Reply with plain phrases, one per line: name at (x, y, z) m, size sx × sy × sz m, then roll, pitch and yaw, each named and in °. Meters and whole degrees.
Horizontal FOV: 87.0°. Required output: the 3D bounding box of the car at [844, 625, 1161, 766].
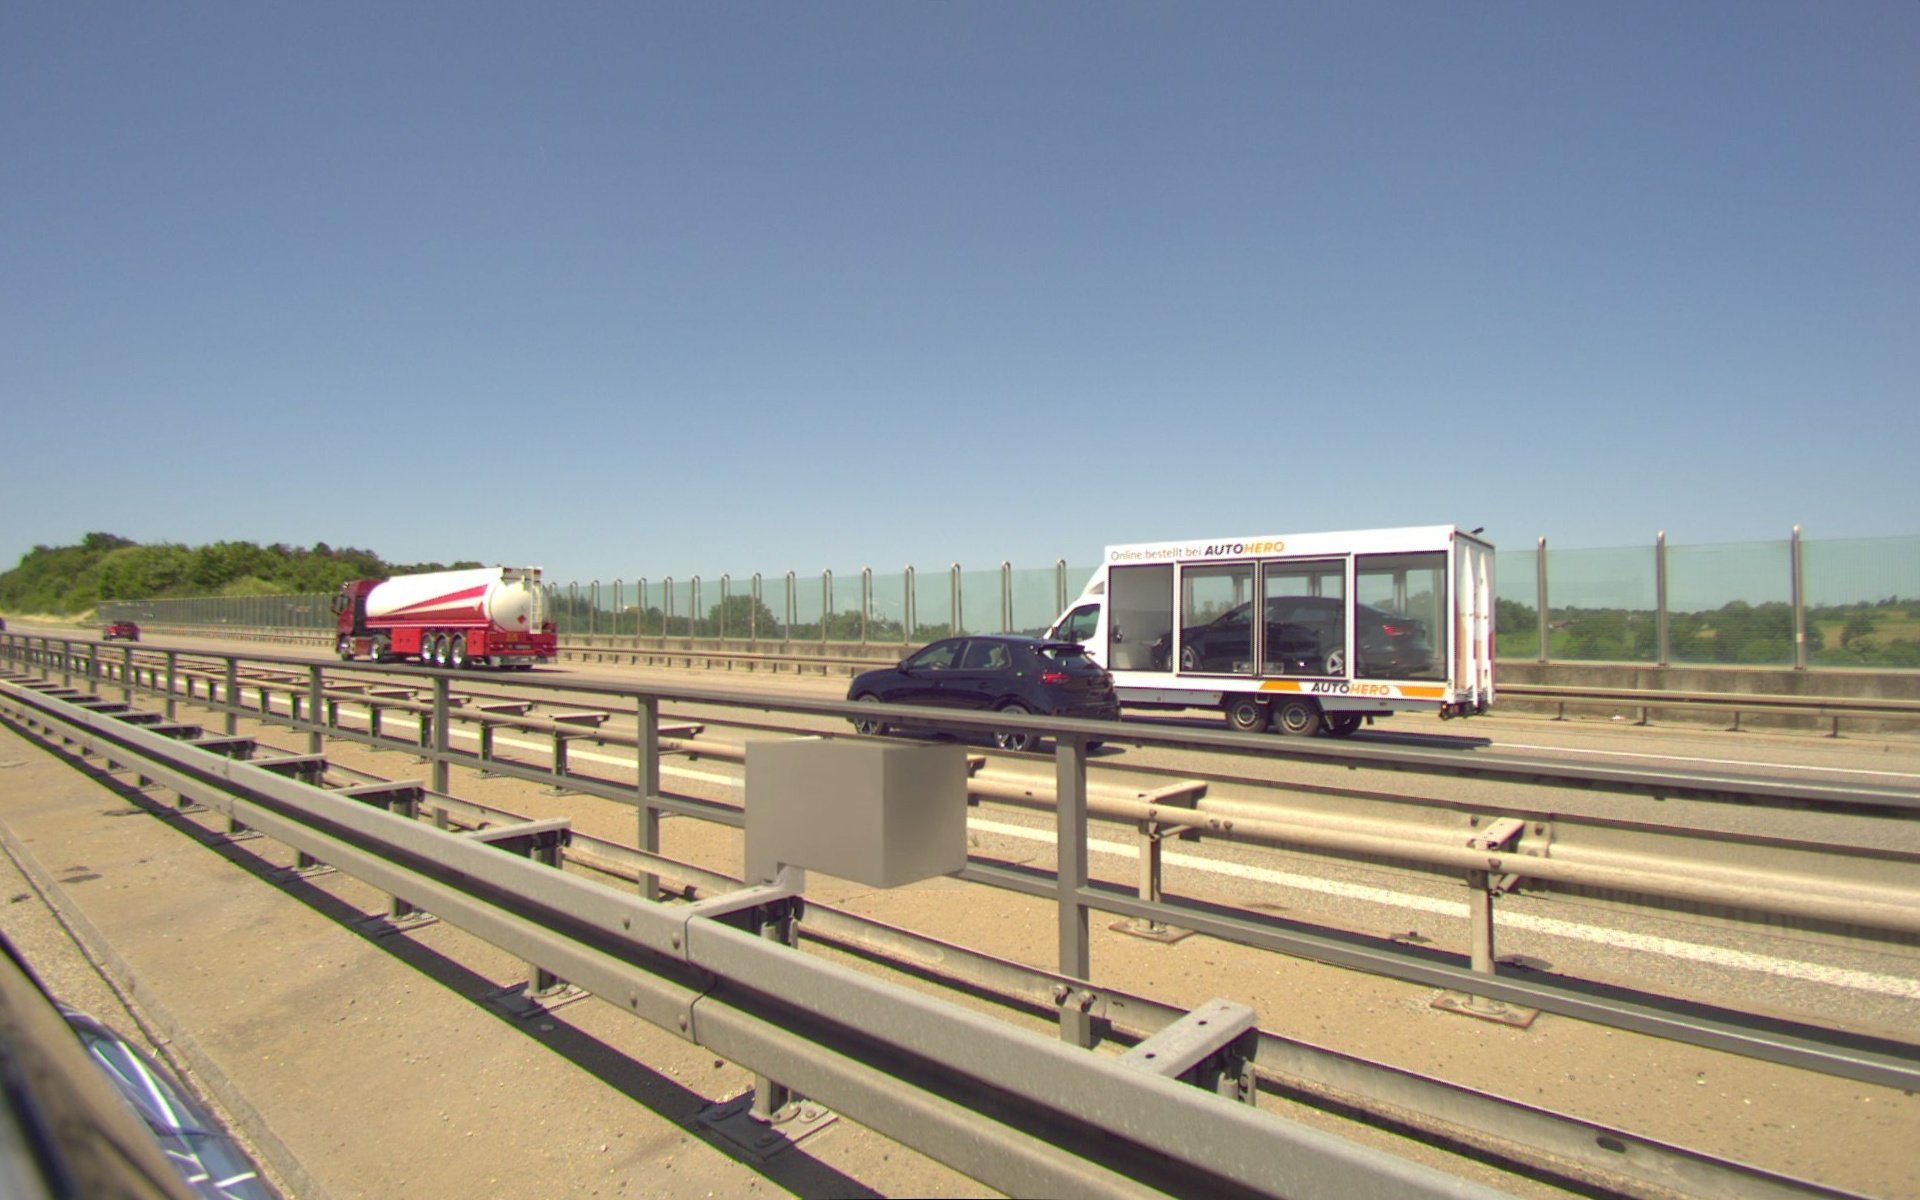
car at (0.462, 1.118, 13.126) m, size 3.850 × 1.510 × 1.779 m, roll -1°, pitch -2°, yaw 41°

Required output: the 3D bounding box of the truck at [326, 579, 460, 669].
truck at (-23.392, 0.988, 41.639) m, size 6.294 × 3.441 × 2.877 m, roll -1°, pitch -3°, yaw 43°

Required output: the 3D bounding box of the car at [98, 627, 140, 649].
car at (-61.632, 2.780, 74.150) m, size 3.999 × 1.431 × 1.763 m, roll -1°, pitch -4°, yaw 42°

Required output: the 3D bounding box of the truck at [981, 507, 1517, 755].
truck at (4.347, 0.496, 16.842) m, size 8.291 × 3.213 × 2.535 m, roll -1°, pitch -4°, yaw 42°

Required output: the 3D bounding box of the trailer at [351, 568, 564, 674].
trailer at (-18.996, 0.798, 37.621) m, size 12.005 × 3.405 × 2.845 m, roll -1°, pitch -3°, yaw 43°
